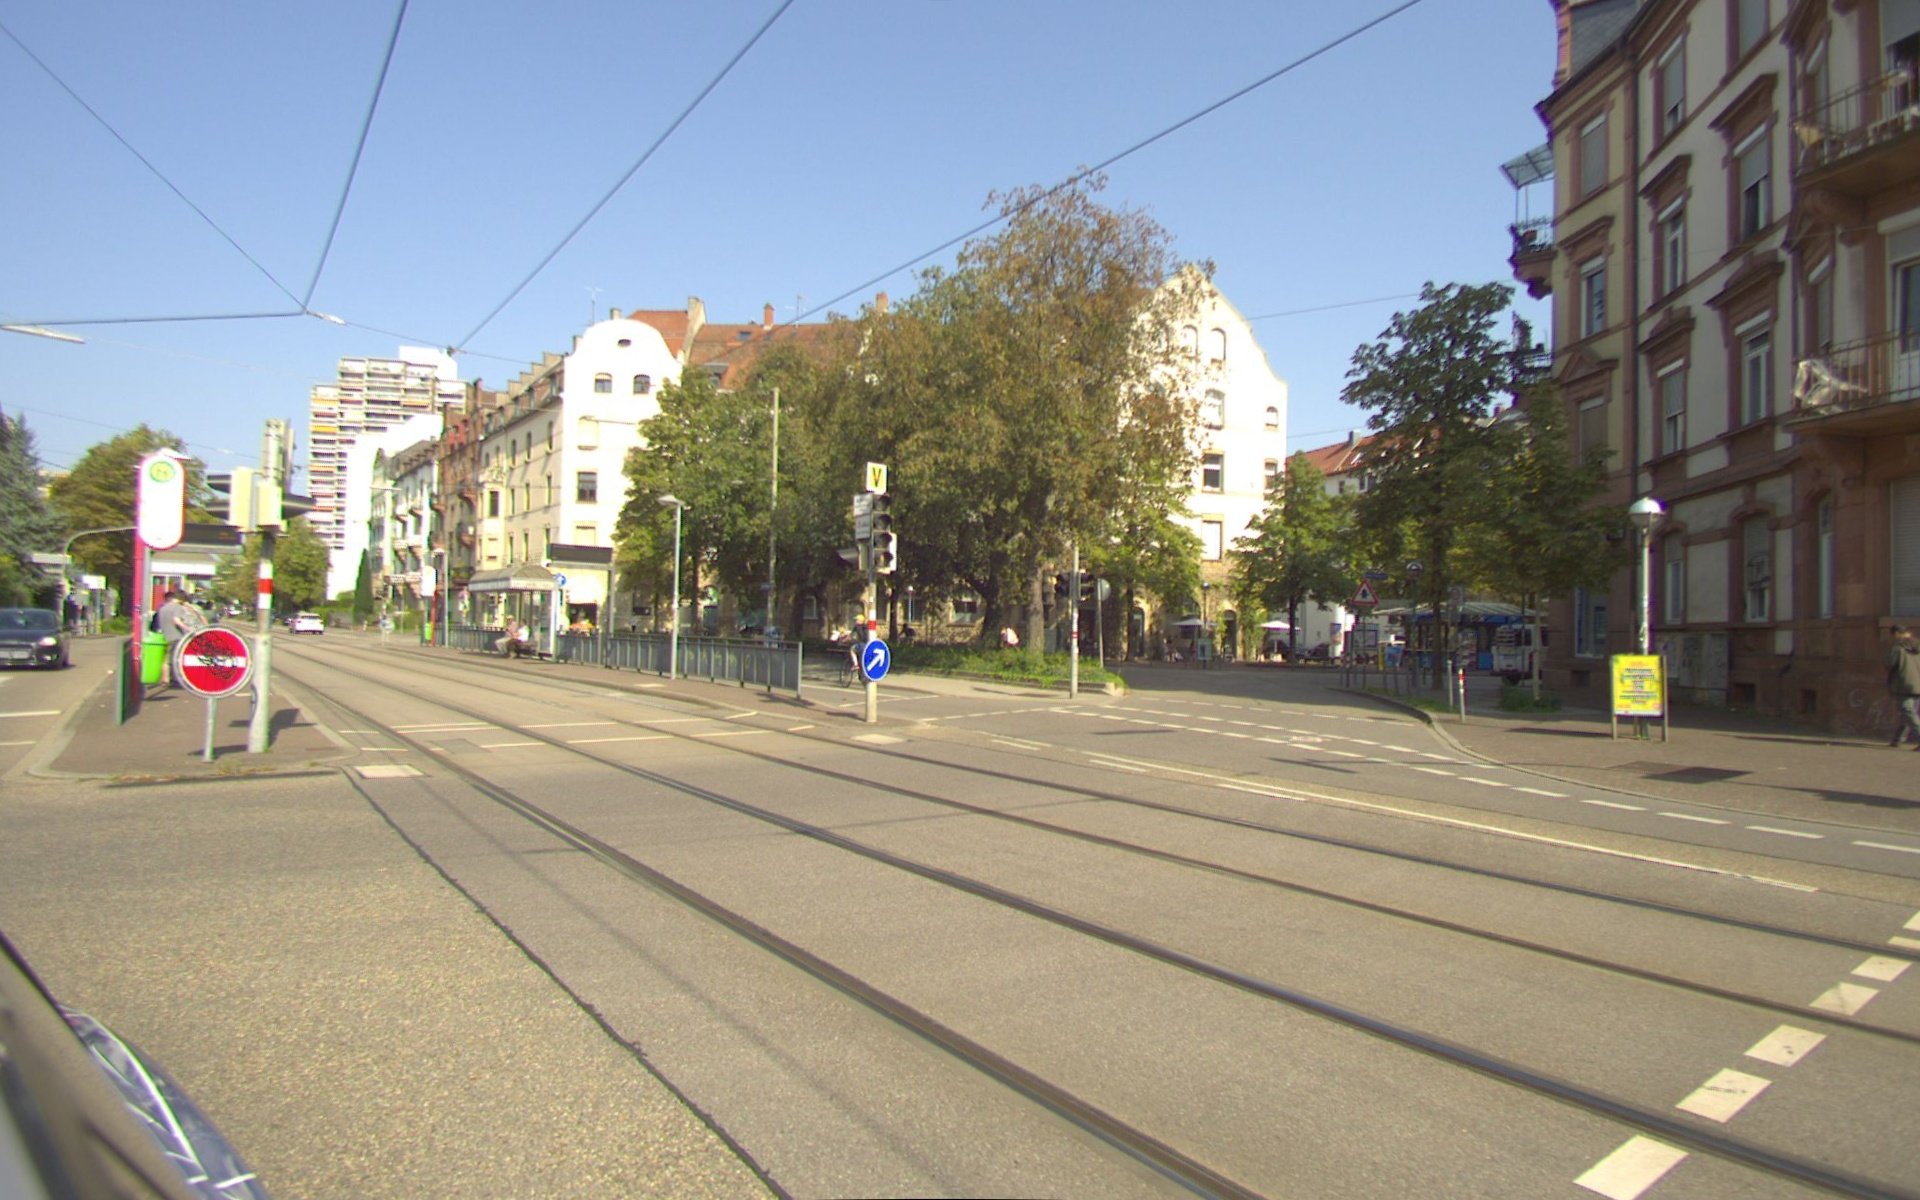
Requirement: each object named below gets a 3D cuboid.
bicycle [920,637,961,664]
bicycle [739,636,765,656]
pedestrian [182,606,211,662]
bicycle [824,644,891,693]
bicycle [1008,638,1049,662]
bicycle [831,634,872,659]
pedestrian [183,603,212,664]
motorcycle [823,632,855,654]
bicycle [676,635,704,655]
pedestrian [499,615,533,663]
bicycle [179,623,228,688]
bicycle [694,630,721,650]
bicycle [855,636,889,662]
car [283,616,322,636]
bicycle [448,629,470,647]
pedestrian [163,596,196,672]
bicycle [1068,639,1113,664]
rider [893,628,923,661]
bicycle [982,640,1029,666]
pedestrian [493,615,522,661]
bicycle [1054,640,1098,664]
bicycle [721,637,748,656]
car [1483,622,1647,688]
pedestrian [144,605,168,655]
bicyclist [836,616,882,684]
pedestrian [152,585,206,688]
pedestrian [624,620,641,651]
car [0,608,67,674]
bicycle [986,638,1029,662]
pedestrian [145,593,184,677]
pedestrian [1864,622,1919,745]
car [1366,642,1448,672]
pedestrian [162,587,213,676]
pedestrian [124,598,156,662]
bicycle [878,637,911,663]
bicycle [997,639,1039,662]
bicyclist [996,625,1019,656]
[{"bbox_3d":[-1.025,2.692,53.977,0.867,1.381,2.273,-1,-3,39],"label":"bicycle"},{"bbox_3d":[-11.900,2.644,58.068,0.689,1.087,2.335,1,-1,9],"label":"bicycle"},{"bbox_3d":[-21.480,0.950,28.475,0.581,1.556,0.608,3,-3,-36],"label":"pedestrian"},{"bbox_3d":[-2.553,1.664,24.914,0.675,1.112,2.074,2,-2,-36],"label":"bicycle"},{"bbox_3d":[3.459,2.535,51.431,0.646,1.112,2.337,3,-2,-40],"label":"bicycle"},{"bbox_3d":[-6.077,2.629,56.868,0.867,1.381,2.272,-1,-3,41],"label":"bicycle"},{"bbox_3d":[-21.850,0.962,29.007,0.581,1.734,0.608,3,-3,-36],"label":"pedestrian"},{"bbox_3d":[-6.861,2.408,57.368,0.676,1.186,1.861,0,-1,36],"label":"motorcycle"},{"bbox_3d":[-15.831,2.629,59.402,0.689,1.087,2.335,1,-1,9],"label":"bicycle"},{"bbox_3d":[-13.985,1.234,31.849,0.782,1.467,0.720,3,-3,-37],"label":"pedestrian"},{"bbox_3d":[-13.575,0.977,18.199,0.466,1.112,1.742,2,-2,-30],"label":"bicycle"},{"bbox_3d":[-14.699,2.322,58.965,0.689,1.087,2.335,1,-1,9],"label":"bicycle"},{"bbox_3d":[-4.875,2.716,56.270,0.862,1.381,2.285,0,-2,23],"label":"bicycle"},{"bbox_3d":[-49.252,1.963,75.797,1.708,1.445,3.925,3,-3,-43],"label":"car"},{"bbox_3d":[-33.098,2.500,66.859,1.894,1.112,0.538,-1,-3,39],"label":"bicycle"},{"bbox_3d":[-18.462,0.811,23.938,0.545,1.774,0.534,3,-3,-40],"label":"pedestrian"},{"bbox_3d":[6.060,2.382,46.990,2.056,1.112,0.658,2,-2,-30],"label":"bicycle"},{"bbox_3d":[-2.447,2.076,47.427,0.981,1.523,1.117,1,-2,-34],"label":"rider"},{"bbox_3d":[2.010,2.348,44.957,2.070,1.112,0.647,-1,-3,40],"label":"bicycle"},{"bbox_3d":[-14.625,1.235,32.724,0.668,1.467,0.720,3,-3,-37],"label":"pedestrian"},{"bbox_3d":[5.498,2.456,47.960,2.056,1.112,0.658,2,-2,-30],"label":"bicycle"},{"bbox_3d":[-13.136,2.694,59.086,0.689,1.087,2.335,1,-2,9],"label":"bicycle"},{"bbox_3d":[19.874,1.803,33.315,4.514,2.032,2.086,2,-2,-15],"label":"car"},{"bbox_3d":[-29.382,1.101,36.988,0.551,1.816,0.678,3,-3,-35],"label":"pedestrian"},{"bbox_3d":[-2.491,1.210,24.853,0.664,1.626,1.047,2,-2,-36],"label":"bicyclist"},{"bbox_3d":[-13.904,0.651,18.019,0.681,1.780,0.798,3,-3,-39],"label":"pedestrian"},{"bbox_3d":[-19.945,2.154,61.582,0.724,1.882,0.674,3,-3,-42],"label":"pedestrian"},{"bbox_3d":[-22.948,0.965,24.569,1.749,1.479,4.006,2,-2,-40],"label":"car"},{"bbox_3d":[2.346,2.498,50.410,0.762,1.112,2.337,3,-2,-40],"label":"bicycle"},{"bbox_3d":[-17.684,0.772,22.491,0.596,1.820,0.731,3,-3,-39],"label":"pedestrian"},{"bbox_3d":[12.775,1.091,13.337,0.829,1.583,0.946,1,-2,-5],"label":"pedestrian"},{"bbox_3d":[28.609,3.658,64.789,4.514,1.805,2.086,2,-2,-15],"label":"car"},{"bbox_3d":[-15.767,0.648,20.657,0.758,1.774,0.682,3,-3,-40],"label":"pedestrian"},{"bbox_3d":[-24.034,0.888,29.674,0.628,1.862,0.635,3,-3,-36],"label":"pedestrian"},{"bbox_3d":[-3.542,2.744,55.363,0.862,1.381,2.285,0,-2,23],"label":"bicycle"},{"bbox_3d":[2.907,2.519,50.910,0.646,1.112,2.337,3,-2,-40],"label":"bicycle"},{"bbox_3d":[2.118,1.803,44.890,0.758,1.370,0.647,-1,-3,40],"label":"bicyclist"}]
